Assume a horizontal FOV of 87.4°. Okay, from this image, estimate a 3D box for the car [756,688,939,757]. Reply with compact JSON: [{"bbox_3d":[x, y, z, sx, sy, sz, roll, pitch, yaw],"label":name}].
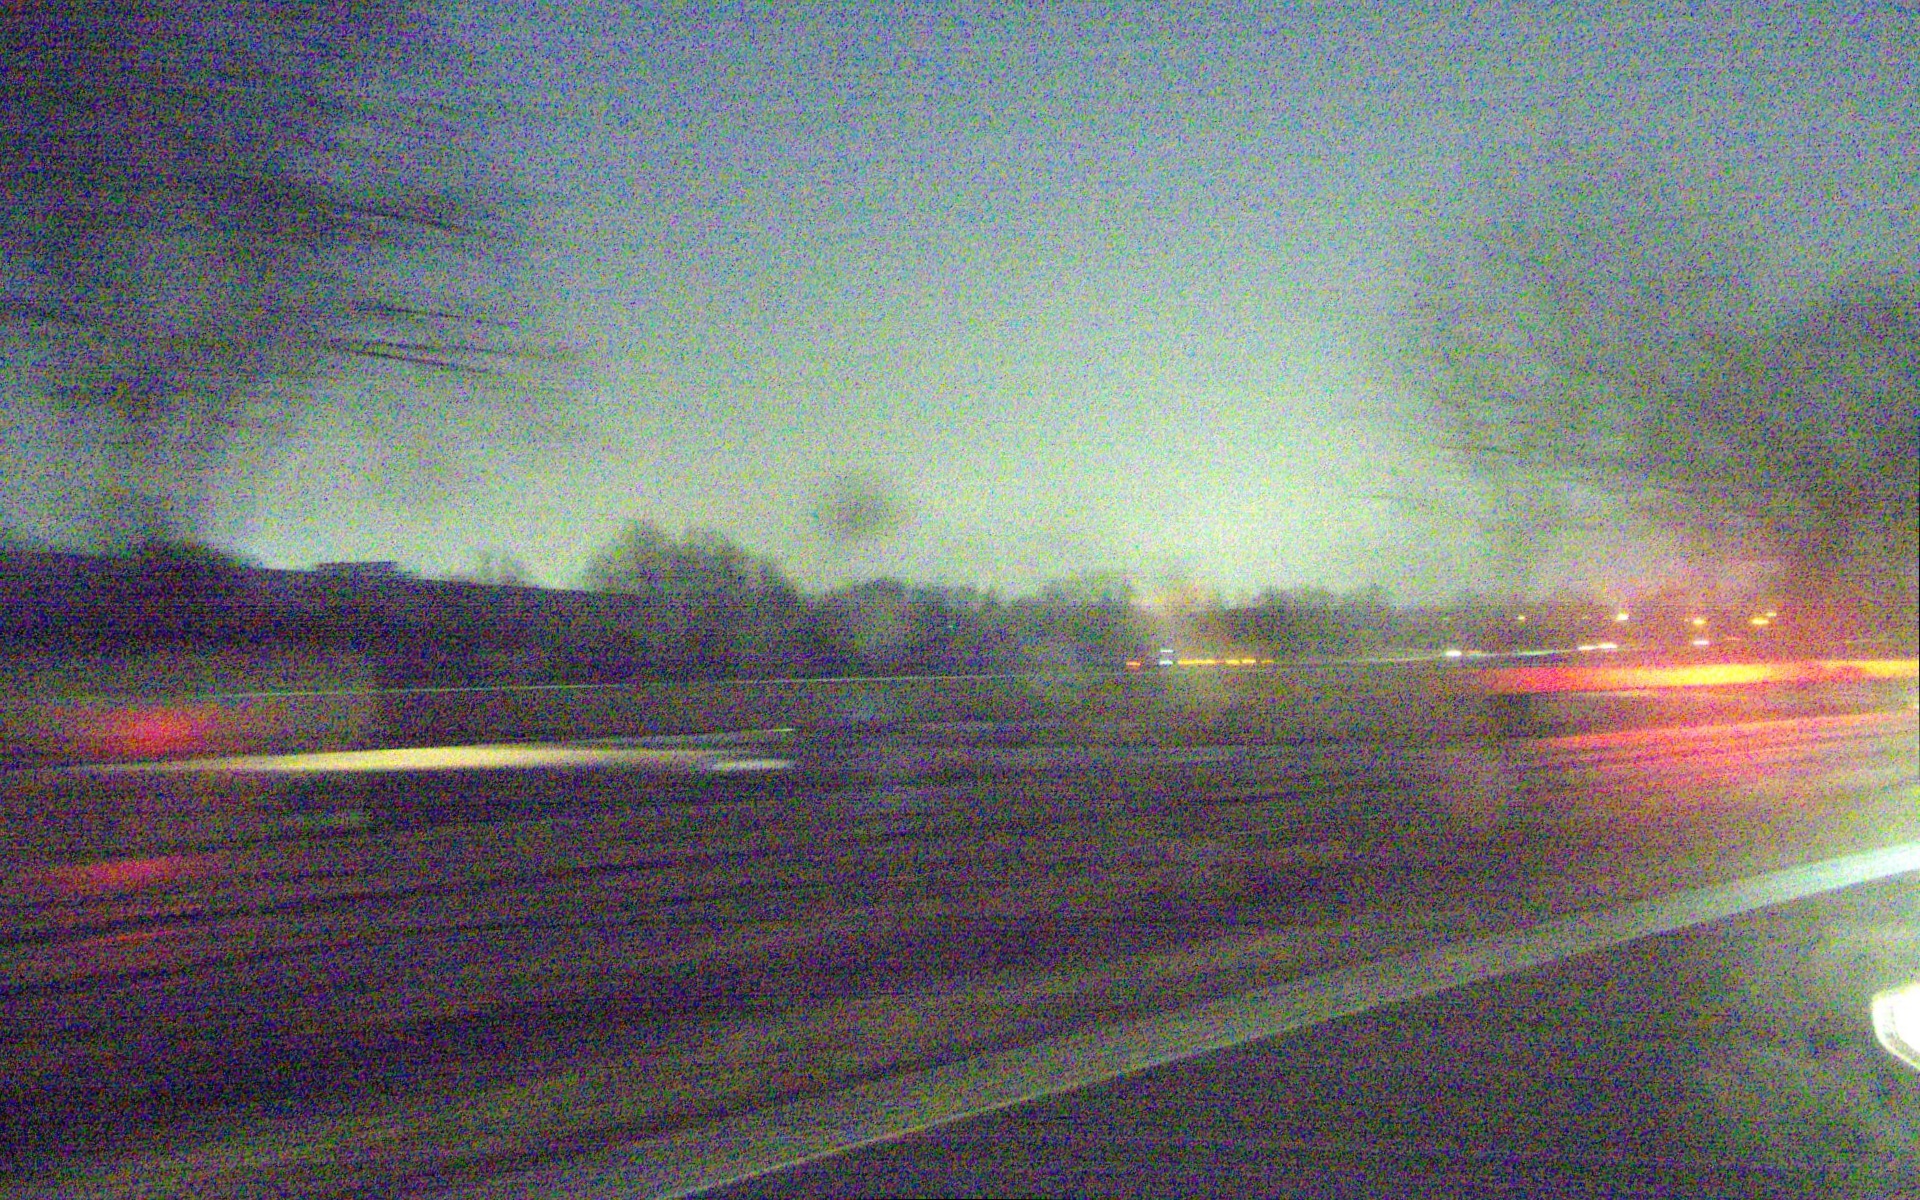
[{"bbox_3d":[-2.570,2.757,22.731,3.864,1.416,1.727,3,-4,-16],"label":"car"}]
